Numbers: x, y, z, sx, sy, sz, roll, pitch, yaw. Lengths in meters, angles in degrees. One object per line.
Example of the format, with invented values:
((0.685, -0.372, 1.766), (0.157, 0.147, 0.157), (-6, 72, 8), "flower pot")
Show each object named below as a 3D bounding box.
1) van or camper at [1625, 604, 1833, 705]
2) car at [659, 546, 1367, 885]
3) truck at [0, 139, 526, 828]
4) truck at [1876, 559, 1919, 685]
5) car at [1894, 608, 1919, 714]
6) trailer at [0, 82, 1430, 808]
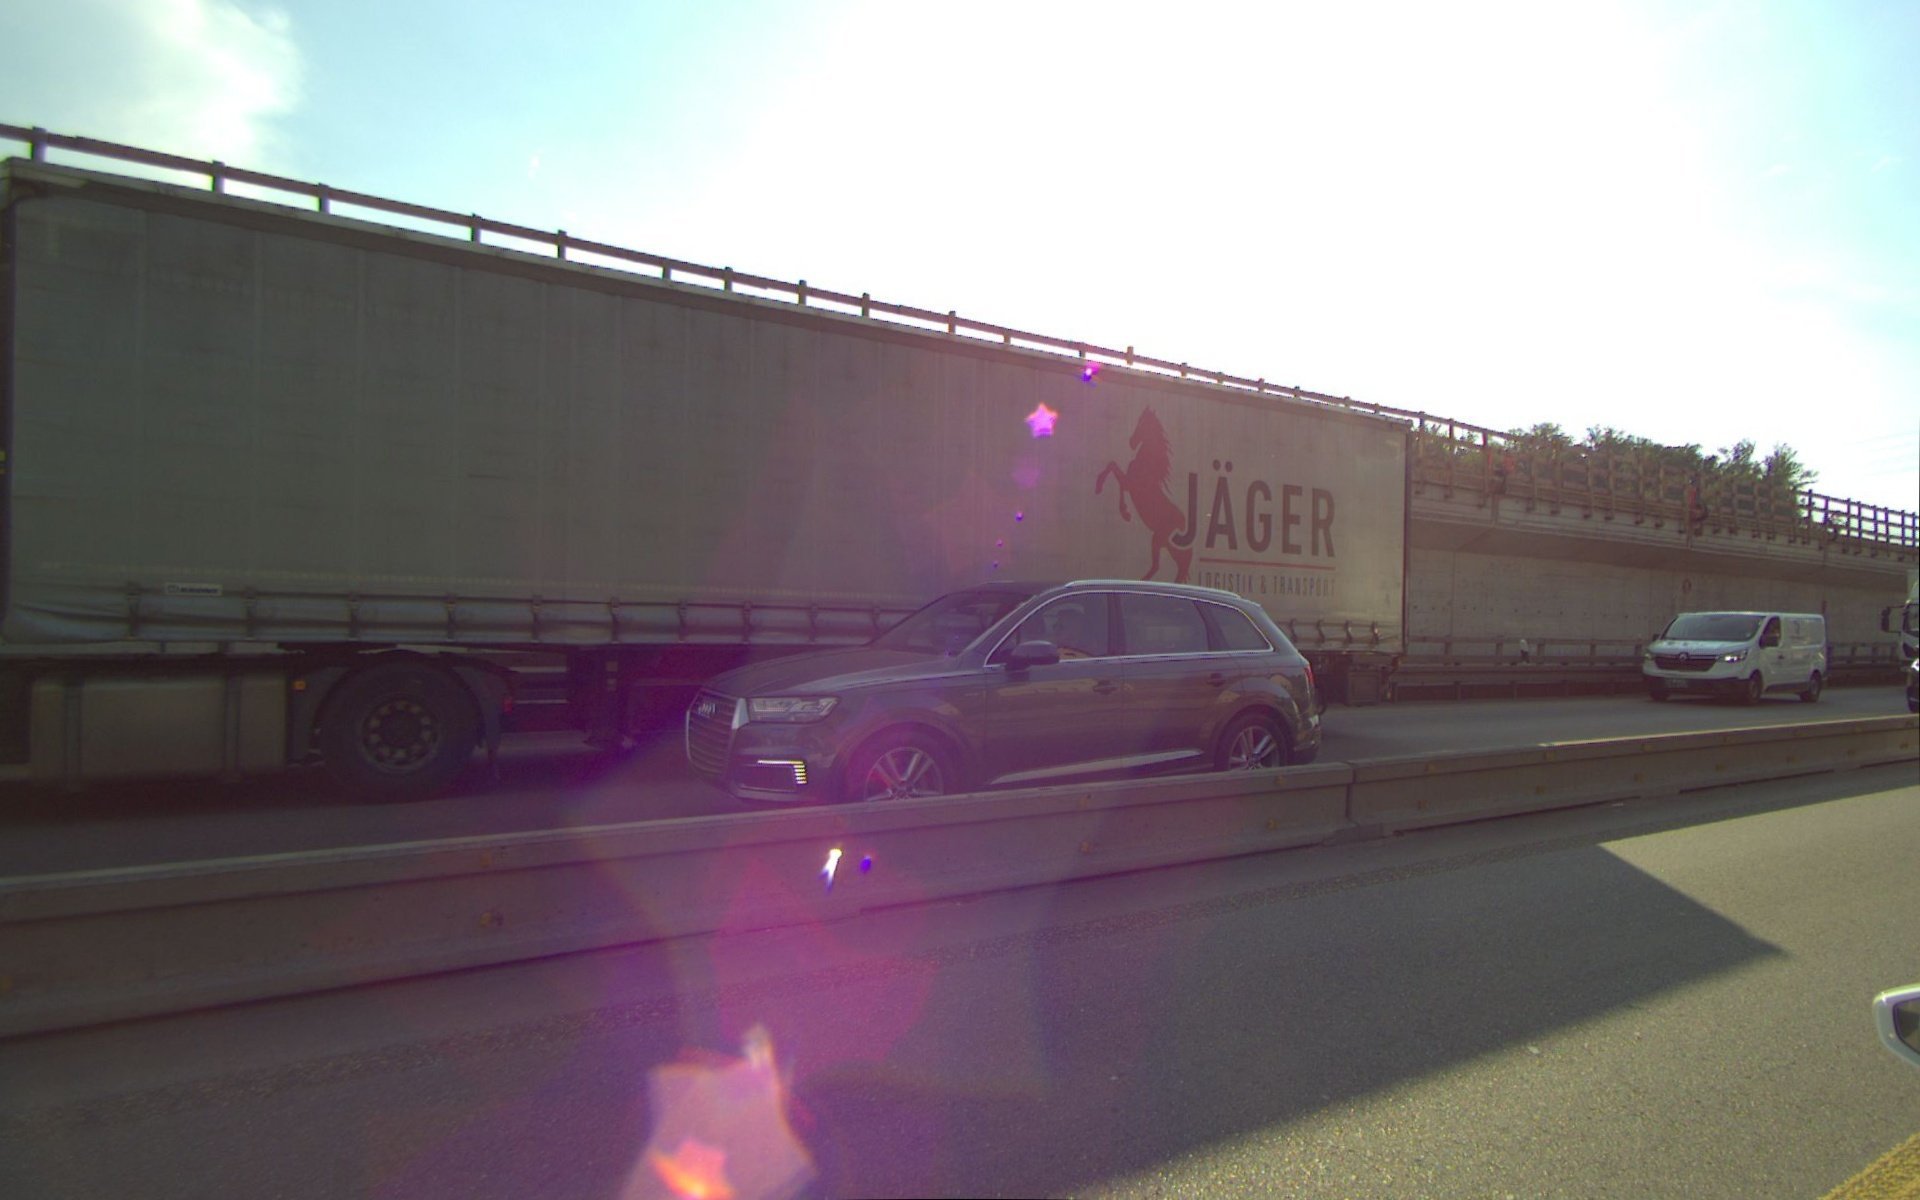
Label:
((16.646, 1.125, 21.685), (4.866, 1.948, 1.907), (2, 0, -31), "van or camper")
((0.589, 0.701, 7.429), (5.082, 1.795, 1.812), (3, -1, -31), "car")
((-6.368, -0.690, 7.173), (5.593, 4.061, 2.846), (2, -1, -31), "truck")
((29.937, 0.727, 29.194), (8.049, 3.468, 2.701), (2, -4, -31), "truck")
((20.293, 1.208, 19.347), (5.230, 1.948, 1.975), (2, 0, -31), "car")
((-0.518, -0.671, 10.718), (13.612, 4.296, 2.898), (3, -1, -31), "trailer")
